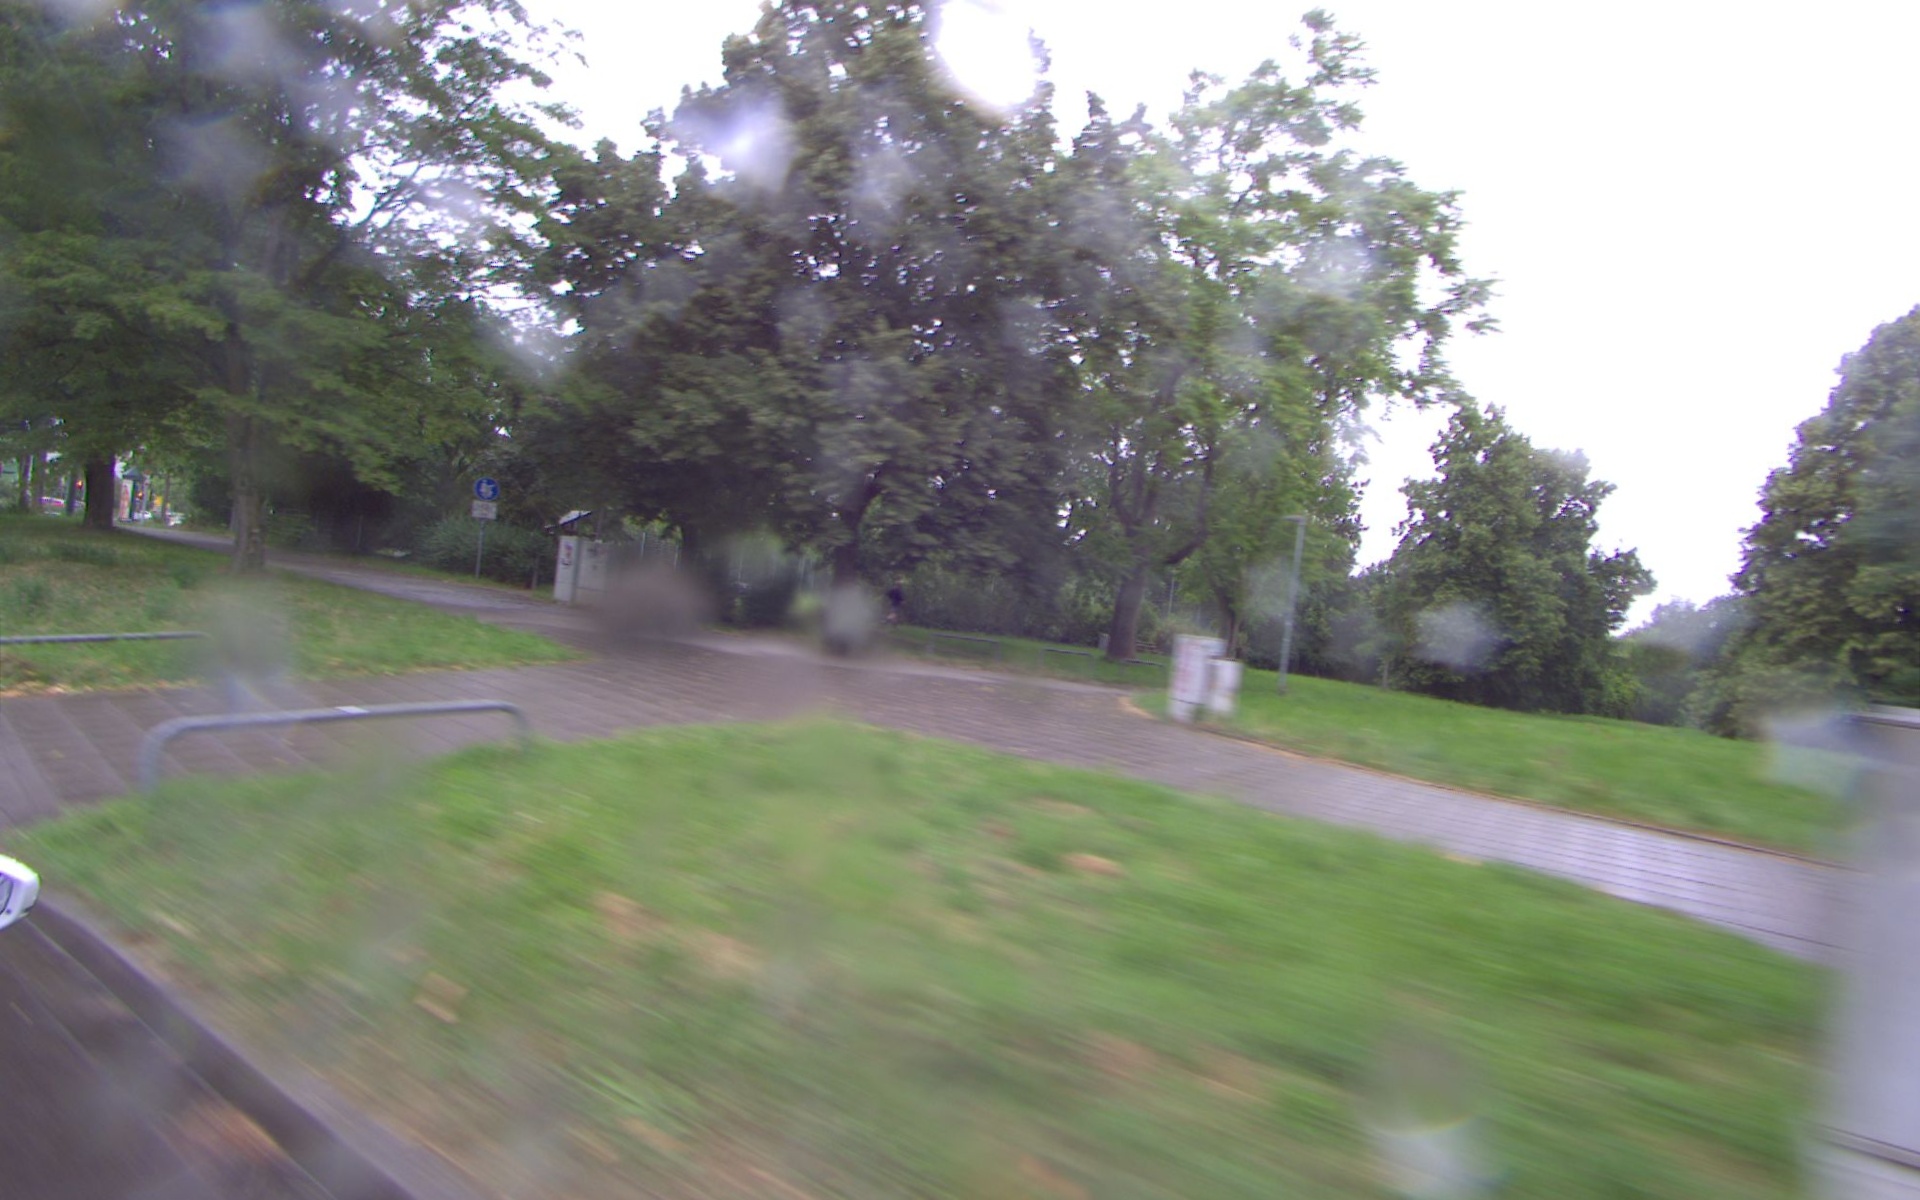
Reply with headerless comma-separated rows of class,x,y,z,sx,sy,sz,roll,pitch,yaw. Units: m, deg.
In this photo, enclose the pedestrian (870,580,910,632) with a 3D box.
pedestrian,-2.472,0.225,35.775,0.839,1.715,1.034,7,0,26
